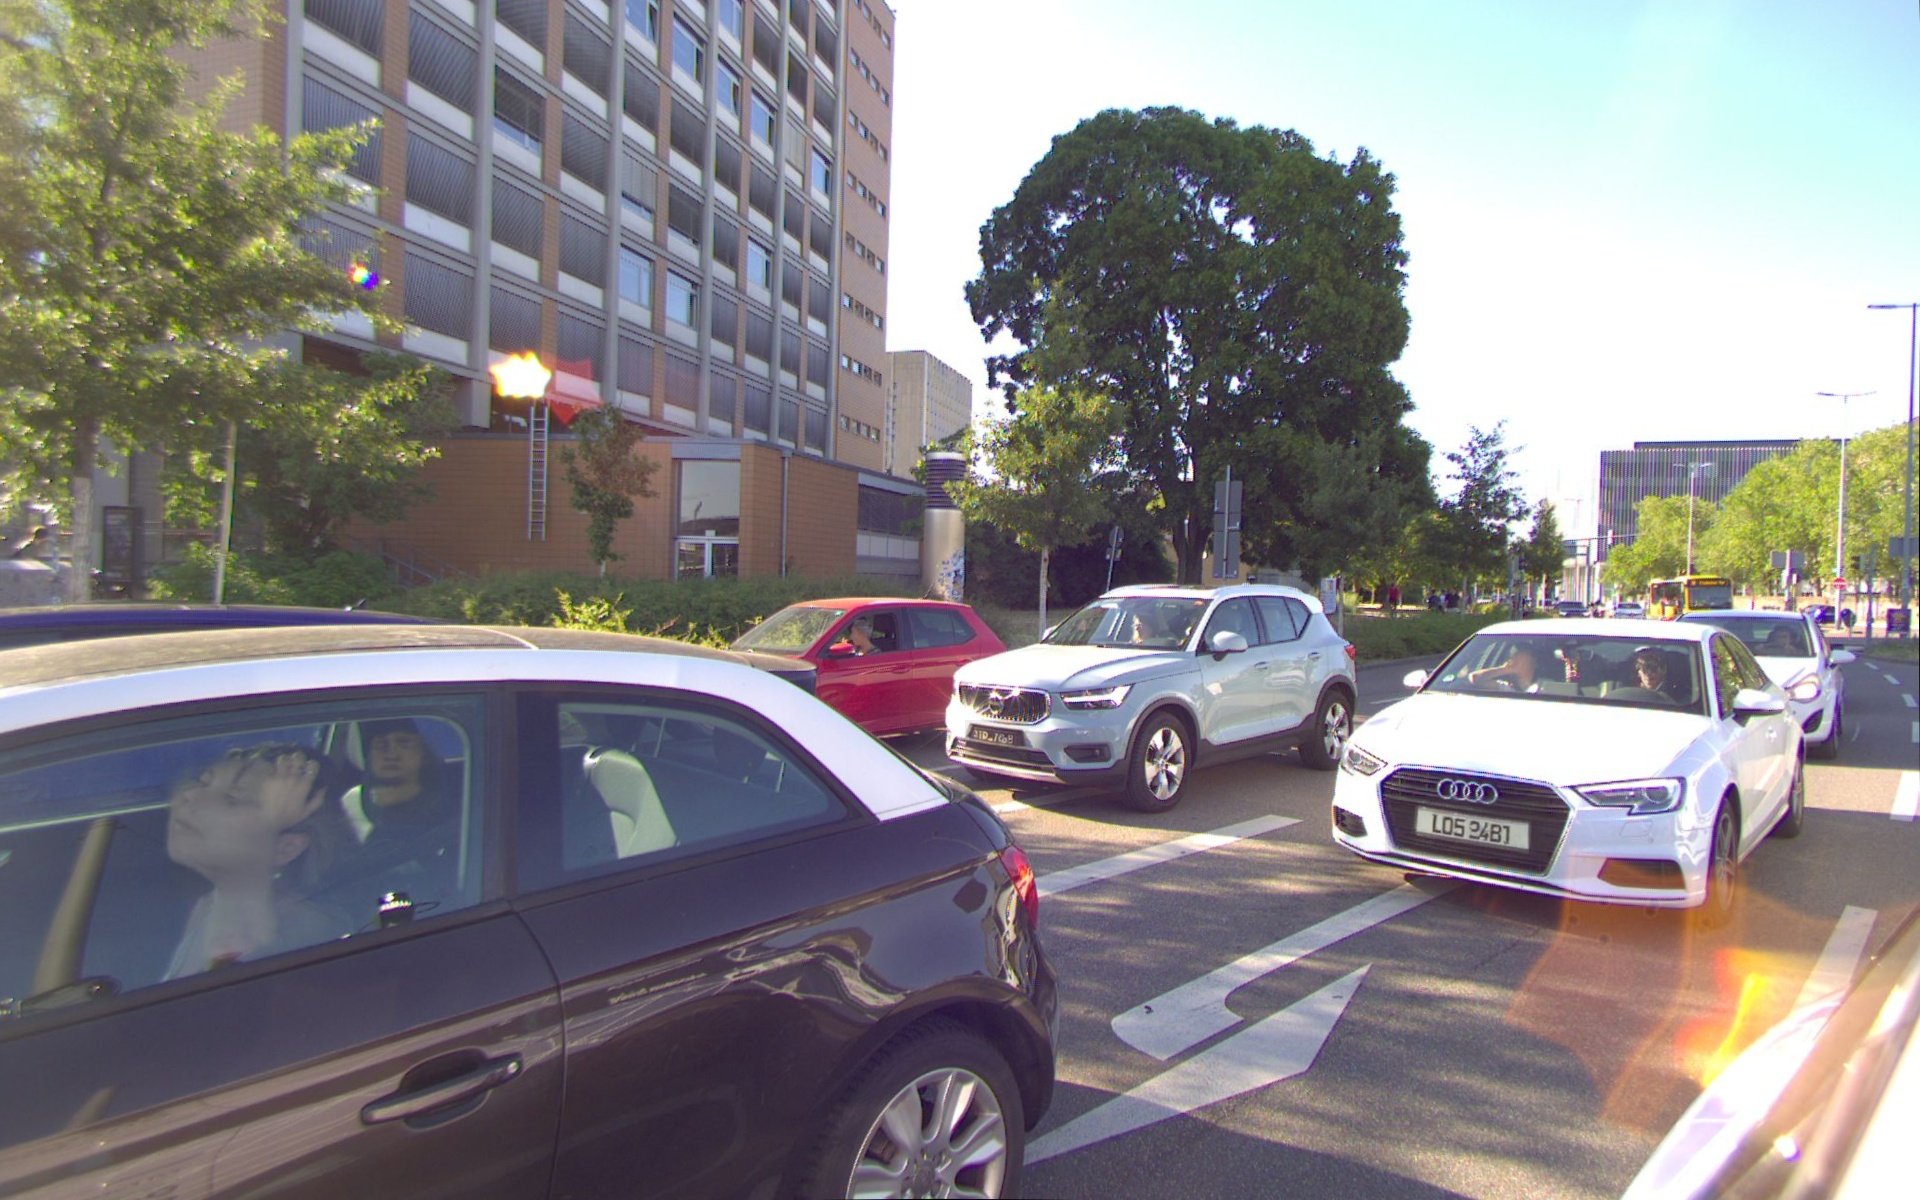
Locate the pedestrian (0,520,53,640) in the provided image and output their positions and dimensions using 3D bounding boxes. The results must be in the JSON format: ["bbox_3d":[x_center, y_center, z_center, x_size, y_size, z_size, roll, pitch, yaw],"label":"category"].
[{"bbox_3d":[-15.225,-0.316,16.394,0.681,1.910,0.465,0,0,-24],"label":"pedestrian"}]

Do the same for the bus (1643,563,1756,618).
[{"bbox_3d":[48.374,-0.642,66.718,3.051,3.252,12.451,0,1,22],"label":"bus"}]

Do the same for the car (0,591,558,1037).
[{"bbox_3d":[-3.756,0.687,3.731,3.930,1.422,1.626,-1,0,-41],"label":"car"}]

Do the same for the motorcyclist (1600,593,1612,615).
[{"bbox_3d":[47.700,0.321,74.717,0.705,1.610,0.683,0,0,28],"label":"motorcyclist"}]

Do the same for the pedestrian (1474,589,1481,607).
[{"bbox_3d":[49.345,-0.153,96.455,0.475,1.706,0.399,1,1,-41],"label":"pedestrian"}]

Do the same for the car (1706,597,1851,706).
[{"bbox_3d":[13.116,0.711,16.131,1.622,1.478,3.981,0,1,42],"label":"car"}]

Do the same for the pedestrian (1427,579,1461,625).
[{"bbox_3d":[21.675,0.089,45.297,1.137,2.039,1.268,0,0,39],"label":"pedestrian"}]

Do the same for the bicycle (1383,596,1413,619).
[{"bbox_3d":[19.514,0.317,45.060,0.657,0.975,2.005,2,2,41],"label":"bicycle"}]

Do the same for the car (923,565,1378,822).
[{"bbox_3d":[1.779,0.570,8.469,4.153,1.641,1.625,-1,0,-43],"label":"car"}]

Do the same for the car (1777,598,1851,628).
[{"bbox_3d":[59.388,0.868,70.487,1.965,2.039,3.994,0,0,5],"label":"car"}]

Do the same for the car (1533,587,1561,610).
[{"bbox_3d":[47.544,-0.131,82.008,1.730,1.727,3.962,2,1,27],"label":"car"}]

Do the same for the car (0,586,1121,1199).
[{"bbox_3d":[-1.636,0.696,1.672,3.930,1.422,1.626,-1,0,-41],"label":"car"}]

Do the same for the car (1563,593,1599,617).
[{"bbox_3d":[41.302,0.301,67.400,1.740,1.478,4.149,0,0,27],"label":"car"}]

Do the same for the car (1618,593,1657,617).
[{"bbox_3d":[44.118,0.310,65.938,1.741,1.478,4.146,0,0,29],"label":"car"}]

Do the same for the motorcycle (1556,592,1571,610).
[{"bbox_3d":[45.739,0.061,76.703,0.710,1.321,2.216,0,0,25],"label":"motorcycle"}]

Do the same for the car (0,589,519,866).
[{"bbox_3d":[-5.246,0.654,6.128,4.434,1.422,1.725,-1,1,-42],"label":"car"}]

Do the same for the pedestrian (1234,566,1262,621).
[{"bbox_3d":[8.508,-0.194,29.866,0.593,1.615,0.586,0,0,41],"label":"pedestrian"}]

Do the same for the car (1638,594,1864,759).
[{"bbox_3d":[8.878,0.690,11.235,1.623,1.478,3.979,0,1,43],"label":"car"}]

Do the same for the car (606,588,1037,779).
[{"bbox_3d":[-1.187,0.631,9.854,3.974,1.478,1.625,-1,0,-43],"label":"car"}]

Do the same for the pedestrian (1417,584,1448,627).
[{"bbox_3d":[19.454,0.201,41.655,1.005,1.742,0.873,0,0,39],"label":"pedestrian"}]

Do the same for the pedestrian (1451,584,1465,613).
[{"bbox_3d":[35.564,-0.097,72.272,0.846,2.039,0.824,0,0,34],"label":"pedestrian"}]

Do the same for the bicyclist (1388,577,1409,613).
[{"bbox_3d":[19.498,-0.227,45.017,0.615,1.580,0.858,0,0,41],"label":"bicyclist"}]

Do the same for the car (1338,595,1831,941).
[{"bbox_3d":[3.950,0.691,6.130,3.769,1.422,1.625,-1,0,-43],"label":"car"}]

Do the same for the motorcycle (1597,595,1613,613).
[{"bbox_3d":[47.711,0.270,74.833,0.711,1.321,2.215,0,0,26],"label":"motorcycle"}]

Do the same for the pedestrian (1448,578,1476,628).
[{"bbox_3d":[20.797,0.126,41.942,0.891,2.039,0.870,0,0,39],"label":"pedestrian"}]
